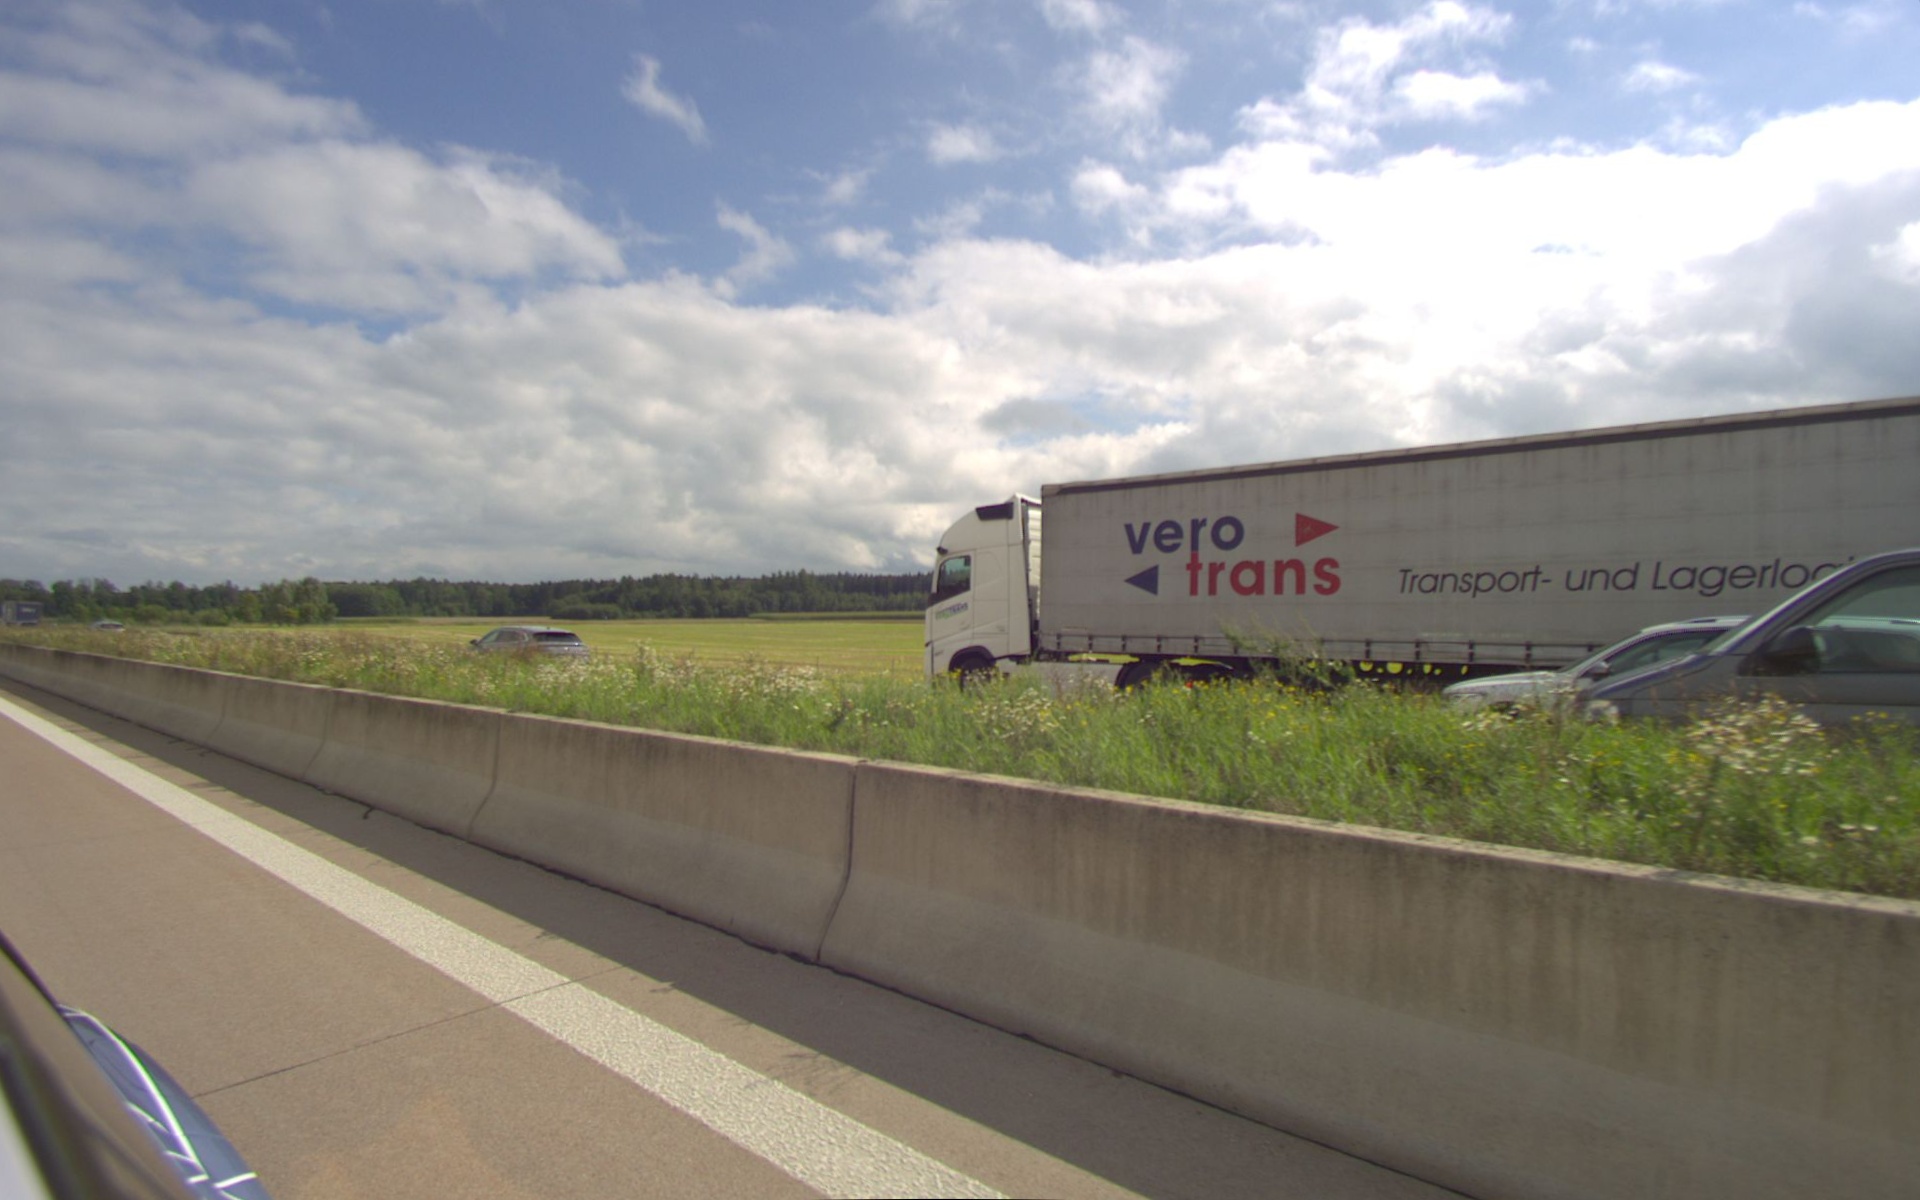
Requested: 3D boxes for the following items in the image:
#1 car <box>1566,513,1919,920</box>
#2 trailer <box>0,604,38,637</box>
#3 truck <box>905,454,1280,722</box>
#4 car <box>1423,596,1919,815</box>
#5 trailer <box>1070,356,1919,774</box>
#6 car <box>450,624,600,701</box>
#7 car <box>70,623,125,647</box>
[{"bbox_3d":[6.254,0.600,5.099,5.243,2.029,1.973,-1,-3,41],"label":"car"},{"bbox_3d":[-121.490,2.685,130.173,14.324,3.989,2.741,-1,-2,41],"label":"trailer"},{"bbox_3d":[2.297,-0.150,18.830,6.125,4.129,3.172,-2,0,43],"label":"truck"},{"bbox_3d":[7.055,0.852,9.270,4.782,1.670,1.973,-1,-3,41],"label":"car"},{"bbox_3d":[7.827,-0.294,13.713,13.257,4.129,3.173,-2,0,43],"label":"trailer"},{"bbox_3d":[-11.210,1.531,25.933,4.469,1.761,1.754,-2,0,41],"label":"car"},{"bbox_3d":[-56.675,2.262,66.493,4.270,1.520,1.974,-1,-3,39],"label":"car"}]
